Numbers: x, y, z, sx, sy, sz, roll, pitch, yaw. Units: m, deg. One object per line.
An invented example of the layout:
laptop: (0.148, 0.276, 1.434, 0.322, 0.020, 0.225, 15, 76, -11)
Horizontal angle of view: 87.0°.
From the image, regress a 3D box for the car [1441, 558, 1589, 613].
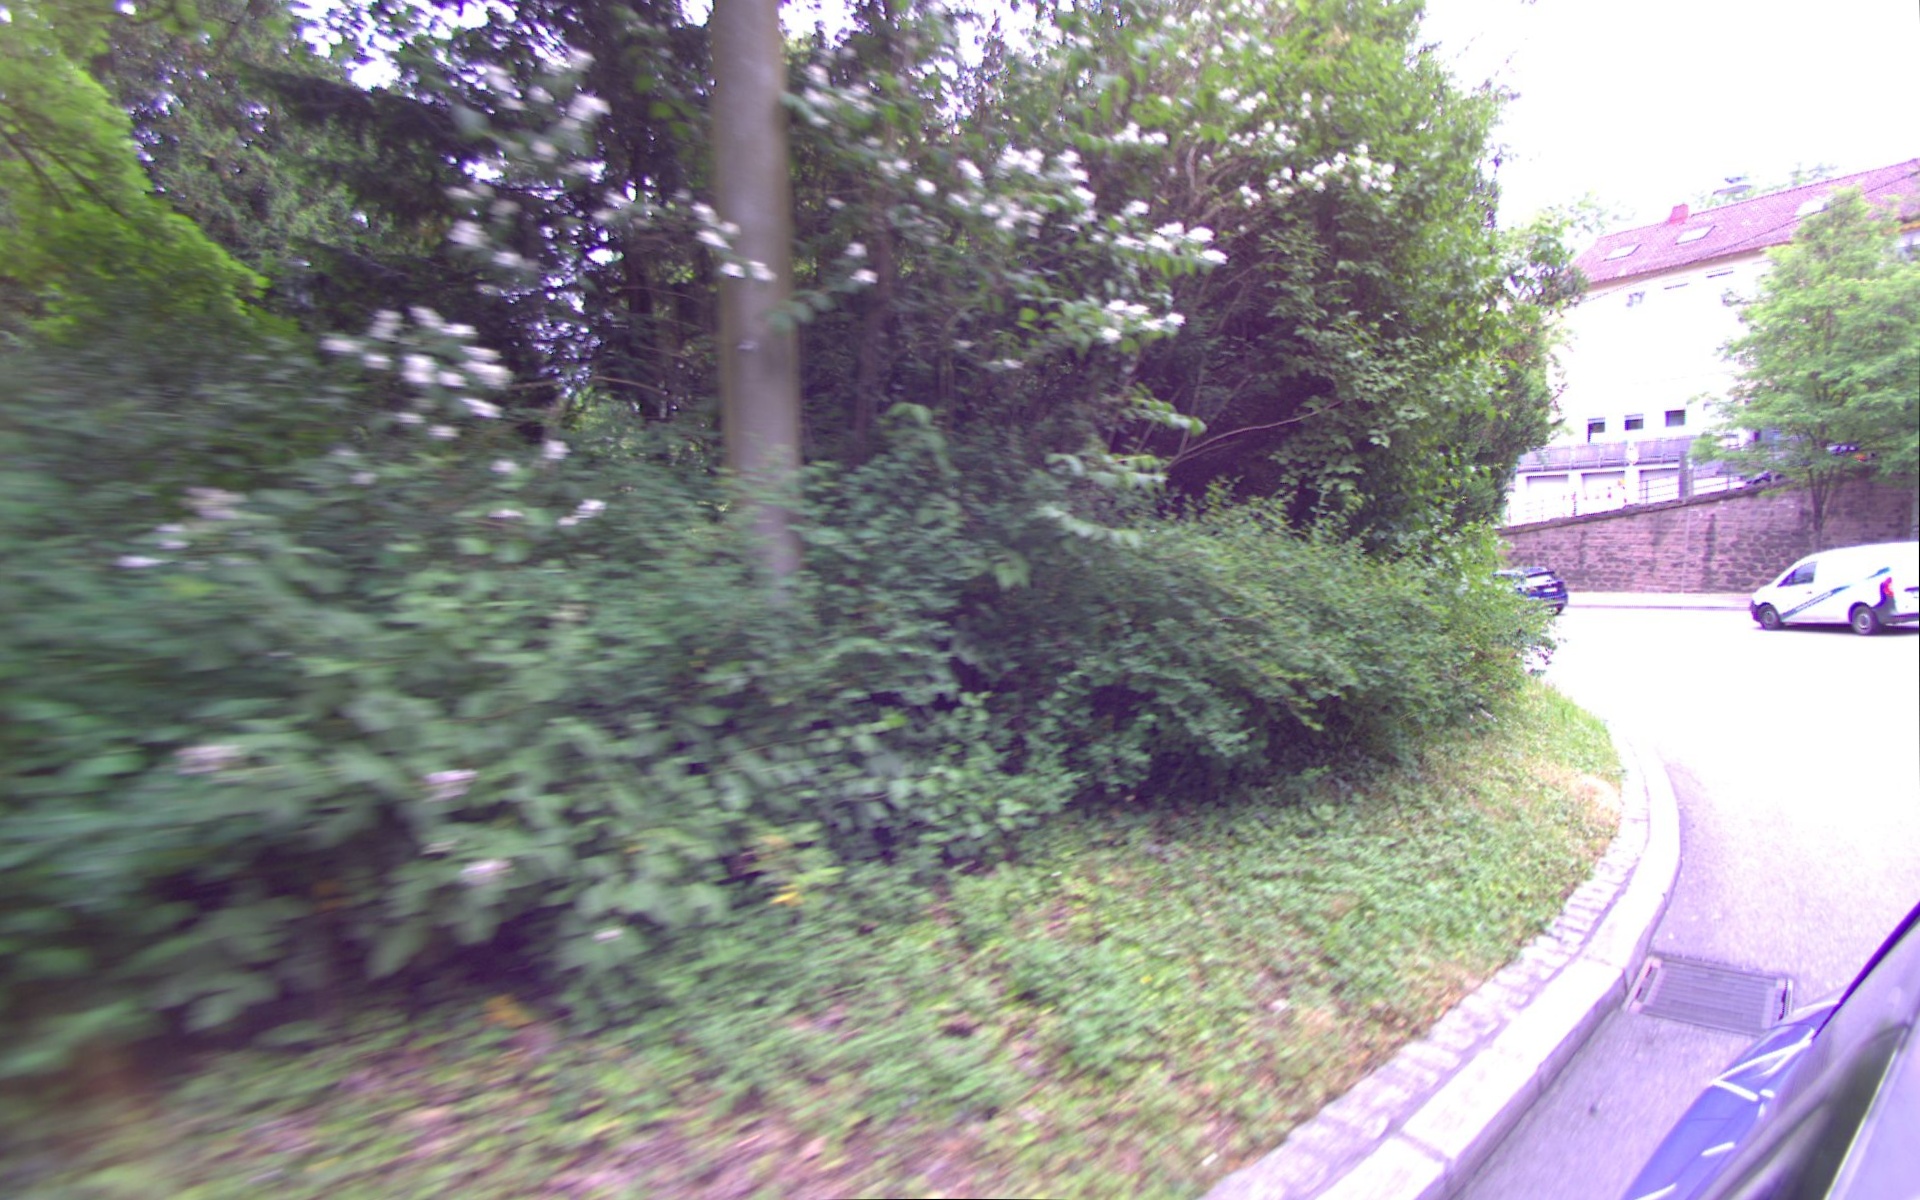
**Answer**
car: (18.555, -0.446, 34.058, 1.697, 1.546, 4.209, -7, 1, -18)

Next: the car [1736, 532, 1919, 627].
car: (19.679, -0.458, 22.175, 1.795, 1.786, 4.665, -6, 0, 4)

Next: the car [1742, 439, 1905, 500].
car: (30.773, -4.605, 36.215, 1.738, 1.659, 4.074, -6, 3, -17)
